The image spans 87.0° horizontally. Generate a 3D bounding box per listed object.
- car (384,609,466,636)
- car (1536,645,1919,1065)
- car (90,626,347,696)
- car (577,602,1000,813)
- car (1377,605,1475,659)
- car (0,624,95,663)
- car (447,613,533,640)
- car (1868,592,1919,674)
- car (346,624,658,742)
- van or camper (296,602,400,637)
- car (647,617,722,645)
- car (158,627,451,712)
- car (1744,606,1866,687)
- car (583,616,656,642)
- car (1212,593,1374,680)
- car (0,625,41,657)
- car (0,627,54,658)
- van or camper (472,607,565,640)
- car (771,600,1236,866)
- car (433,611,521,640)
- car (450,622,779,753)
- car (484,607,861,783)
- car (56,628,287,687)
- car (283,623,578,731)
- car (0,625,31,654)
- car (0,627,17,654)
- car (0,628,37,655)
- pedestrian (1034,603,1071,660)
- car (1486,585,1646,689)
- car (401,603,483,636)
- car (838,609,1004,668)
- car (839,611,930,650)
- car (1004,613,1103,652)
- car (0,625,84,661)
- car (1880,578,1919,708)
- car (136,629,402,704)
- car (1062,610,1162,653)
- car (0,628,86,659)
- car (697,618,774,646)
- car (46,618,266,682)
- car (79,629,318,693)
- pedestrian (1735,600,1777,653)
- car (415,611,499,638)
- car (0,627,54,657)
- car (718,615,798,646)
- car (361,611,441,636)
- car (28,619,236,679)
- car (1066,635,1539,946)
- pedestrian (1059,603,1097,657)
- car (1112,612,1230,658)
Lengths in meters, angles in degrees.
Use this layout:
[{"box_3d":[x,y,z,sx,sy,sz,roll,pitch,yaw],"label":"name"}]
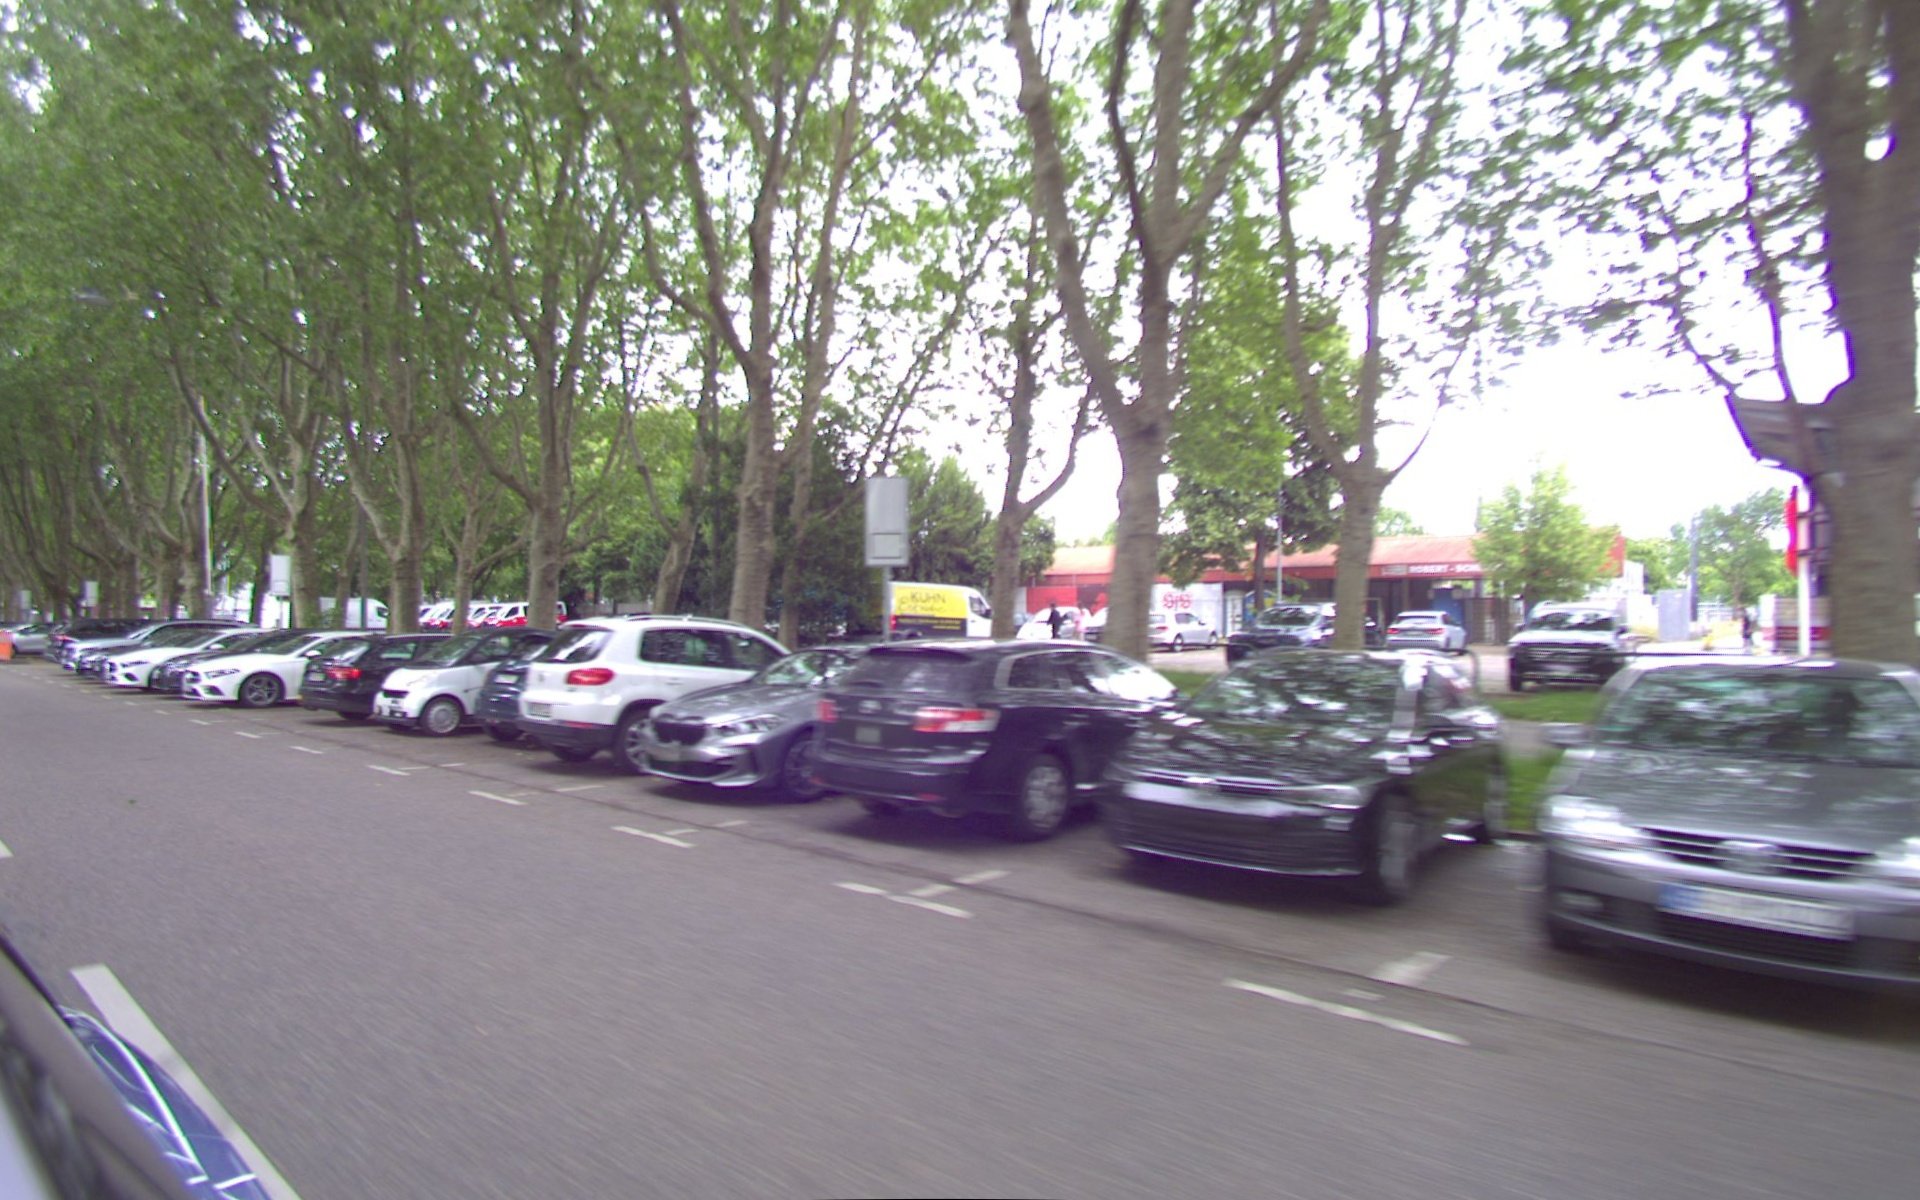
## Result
[{"box_3d":[-43.658,1.891,82.645,2.391,2.036,5.398,-1,-3,39],"label":"car"},{"box_3d":[4.332,0.965,5.219,1.702,1.431,3.953,-2,-3,40],"label":"car"},{"box_3d":[-16.641,1.344,22.898,1.774,1.435,4.363,-2,-3,40],"label":"car"},{"box_3d":[-1.564,0.873,10.261,1.855,1.695,3.944,-1,0,42],"label":"car"},{"box_3d":[14.682,0.951,31.790,1.997,1.562,3.982,-1,0,37],"label":"car"},{"box_3d":[-39.042,1.845,42.803,1.847,1.590,3.517,-2,-4,43],"label":"car"},{"box_3d":[-34.180,1.893,73.724,1.998,1.864,5.399,-1,0,39],"label":"car"},{"box_3d":[23.129,0.713,23.901,2.181,1.810,4.893,-1,0,39],"label":"car"},{"box_3d":[-6.841,1.142,15.404,1.855,1.464,3.944,-1,0,42],"label":"car"},{"box_3d":[-38.891,1.224,64.449,2.242,2.115,5.233,-1,0,39],"label":"van or camper"},{"box_3d":[-15.809,1.739,58.231,1.798,1.498,3.950,-1,0,37],"label":"car"},{"box_3d":[-12.679,1.306,19.858,2.042,1.455,4.370,-1,-3,35],"label":"car"},{"box_3d":[21.272,1.074,25.623,2.181,1.810,4.893,-1,0,39],"label":"car"},{"box_3d":[-21.096,1.790,62.815,1.798,1.498,3.950,-1,0,37],"label":"car"},{"box_3d":[7.570,0.843,22.716,1.998,1.734,4.507,-1,-3,39],"label":"car"},{"box_3d":[-48.707,2.059,50.676,1.847,1.581,3.796,-2,-4,43],"label":"car"},{"box_3d":[-46.710,2.066,49.163,1.847,1.486,3.796,-2,-4,43],"label":"car"},{"box_3d":[-31.640,1.642,72.675,2.328,2.272,5.646,-1,0,41],"label":"van or camper"},{"box_3d":[0.561,0.853,8.549,1.855,1.695,3.944,-1,0,42],"label":"car"},{"box_3d":[-35.981,1.836,75.483,2.473,2.013,5.399,-1,0,39],"label":"car"},{"box_3d":[-4.654,1.079,14.038,1.855,1.464,3.944,-1,0,42],"label":"car"},{"box_3d":[-3.254,0.947,12.010,1.855,1.695,3.944,-1,0,42],"label":"car"},{"box_3d":[-20.406,1.474,26.352,2.044,1.406,4.365,-1,-3,38],"label":"car"},{"box_3d":[-8.623,1.158,16.705,1.855,1.464,3.944,-1,0,42],"label":"car"},{"box_3d":[-55.946,2.274,57.851,2.000,1.641,3.974,-3,-4,43],"label":"car"},{"box_3d":[-57.839,2.355,59.064,1.799,1.539,3.985,-3,-4,43],"label":"car"},{"box_3d":[-54.061,2.309,56.237,2.000,1.482,3.943,-3,-4,43],"label":"car"},{"box_3d":[3.031,1.015,33.188,0.918,1.814,0.808,-1,-1,41],"label":"pedestrian"},{"box_3d":[11.551,0.723,19.149,1.998,1.734,4.507,-1,-3,39],"label":"car"},{"box_3d":[-41.250,1.538,80.708,2.391,2.536,5.399,-1,0,39],"label":"car"},{"box_3d":[-1.081,1.086,30.974,2.093,1.608,5.294,-1,0,40],"label":"car"},{"box_3d":[-3.439,1.361,46.662,1.990,1.674,3.945,-1,0,41],"label":"car"},{"box_3d":[3.789,1.273,40.433,1.990,1.460,3.945,-2,-1,41],"label":"car"},{"box_3d":[-40.994,1.890,44.307,1.676,1.550,3.796,-2,-4,43],"label":"car"},{"box_3d":[15.669,0.585,15.352,2.181,1.810,4.893,-1,0,39],"label":"car"},{"box_3d":[-14.525,1.369,21.470,1.783,1.428,4.359,-2,-3,42],"label":"car"},{"box_3d":[5.819,1.153,38.489,1.937,1.521,3.945,-1,-1,41],"label":"car"},{"box_3d":[-44.675,2.065,48.101,2.090,1.445,4.514,-2,-4,43],"label":"car"},{"box_3d":[-12.199,1.703,55.193,1.727,1.387,3.966,-1,0,37],"label":"car"},{"box_3d":[-22.229,1.382,28.143,2.043,1.639,4.368,-1,-3,36],"label":"car"},{"box_3d":[-18.505,1.459,24.774,1.722,1.406,4.364,-1,-3,38],"label":"car"},{"box_3d":[25.415,0.823,32.310,0.987,1.670,0.830,-1,-1,41],"label":"pedestrian"},{"box_3d":[-39.206,1.873,78.949,2.391,2.036,5.399,-1,0,39],"label":"car"},{"box_3d":[-50.239,2.173,52.992,1.874,1.525,3.943,-2,-4,43],"label":"car"},{"box_3d":[-10.634,1.601,53.383,1.732,1.519,3.947,-1,0,39],"label":"car"},{"box_3d":[-47.073,1.931,85.281,2.391,2.036,5.399,-1,0,39],"label":"car"},{"box_3d":[-24.349,1.439,29.911,2.044,1.639,4.366,-1,-3,37],"label":"car"},{"box_3d":[2.600,0.997,7.044,1.842,1.379,3.947,-1,0,39],"label":"car"},{"box_3d":[3.982,0.997,34.139,0.918,1.814,0.932,-1,-1,41],"label":"pedestrian"},{"box_3d":[7.797,1.219,37.052,2.181,1.532,4.891,-1,0,40],"label":"car"}]
